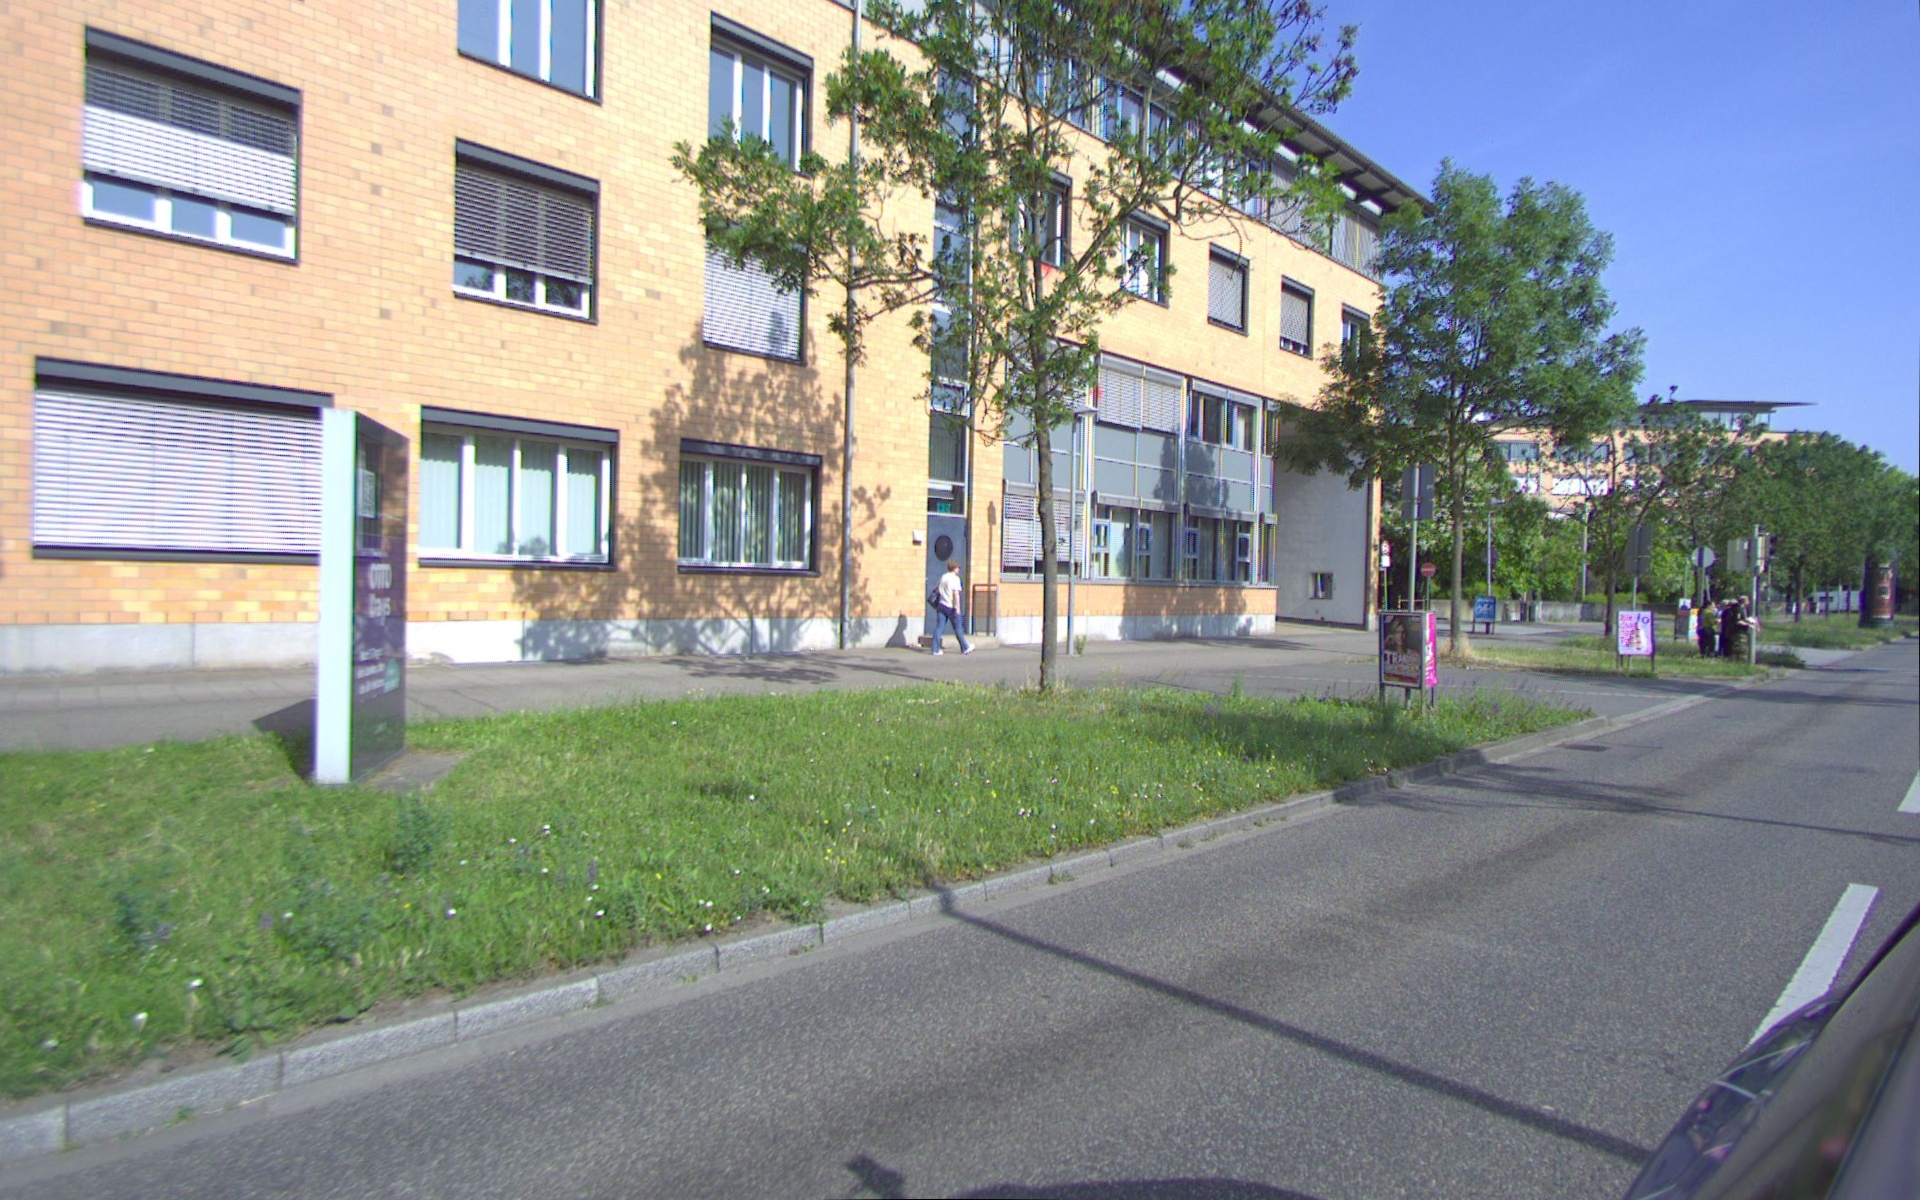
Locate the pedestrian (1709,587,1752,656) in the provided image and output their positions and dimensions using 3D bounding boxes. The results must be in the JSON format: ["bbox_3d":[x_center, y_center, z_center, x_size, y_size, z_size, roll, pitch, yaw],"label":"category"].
[{"bbox_3d":[19.380,0.519,25.457,0.706,1.667,0.678,4,3,45],"label":"pedestrian"}]

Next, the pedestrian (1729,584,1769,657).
[{"bbox_3d":[18.647,0.472,23.916,0.634,1.667,0.599,4,3,43],"label":"pedestrian"}]

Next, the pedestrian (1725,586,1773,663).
[{"bbox_3d":[17.854,0.542,22.905,0.706,1.667,0.678,4,3,45],"label":"pedestrian"}]

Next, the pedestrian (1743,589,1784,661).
[{"bbox_3d":[19.358,0.587,24.383,0.705,1.667,0.679,3,3,40],"label":"pedestrian"}]

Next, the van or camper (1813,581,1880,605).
[{"bbox_3d":[103.494,-0.788,118.176,5.785,2.727,2.370,0,0,44],"label":"van or camper"}]

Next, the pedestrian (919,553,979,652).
[{"bbox_3d":[-0.198,0.023,17.748,0.760,1.677,0.697,0,2,-43],"label":"pedestrian"}]
